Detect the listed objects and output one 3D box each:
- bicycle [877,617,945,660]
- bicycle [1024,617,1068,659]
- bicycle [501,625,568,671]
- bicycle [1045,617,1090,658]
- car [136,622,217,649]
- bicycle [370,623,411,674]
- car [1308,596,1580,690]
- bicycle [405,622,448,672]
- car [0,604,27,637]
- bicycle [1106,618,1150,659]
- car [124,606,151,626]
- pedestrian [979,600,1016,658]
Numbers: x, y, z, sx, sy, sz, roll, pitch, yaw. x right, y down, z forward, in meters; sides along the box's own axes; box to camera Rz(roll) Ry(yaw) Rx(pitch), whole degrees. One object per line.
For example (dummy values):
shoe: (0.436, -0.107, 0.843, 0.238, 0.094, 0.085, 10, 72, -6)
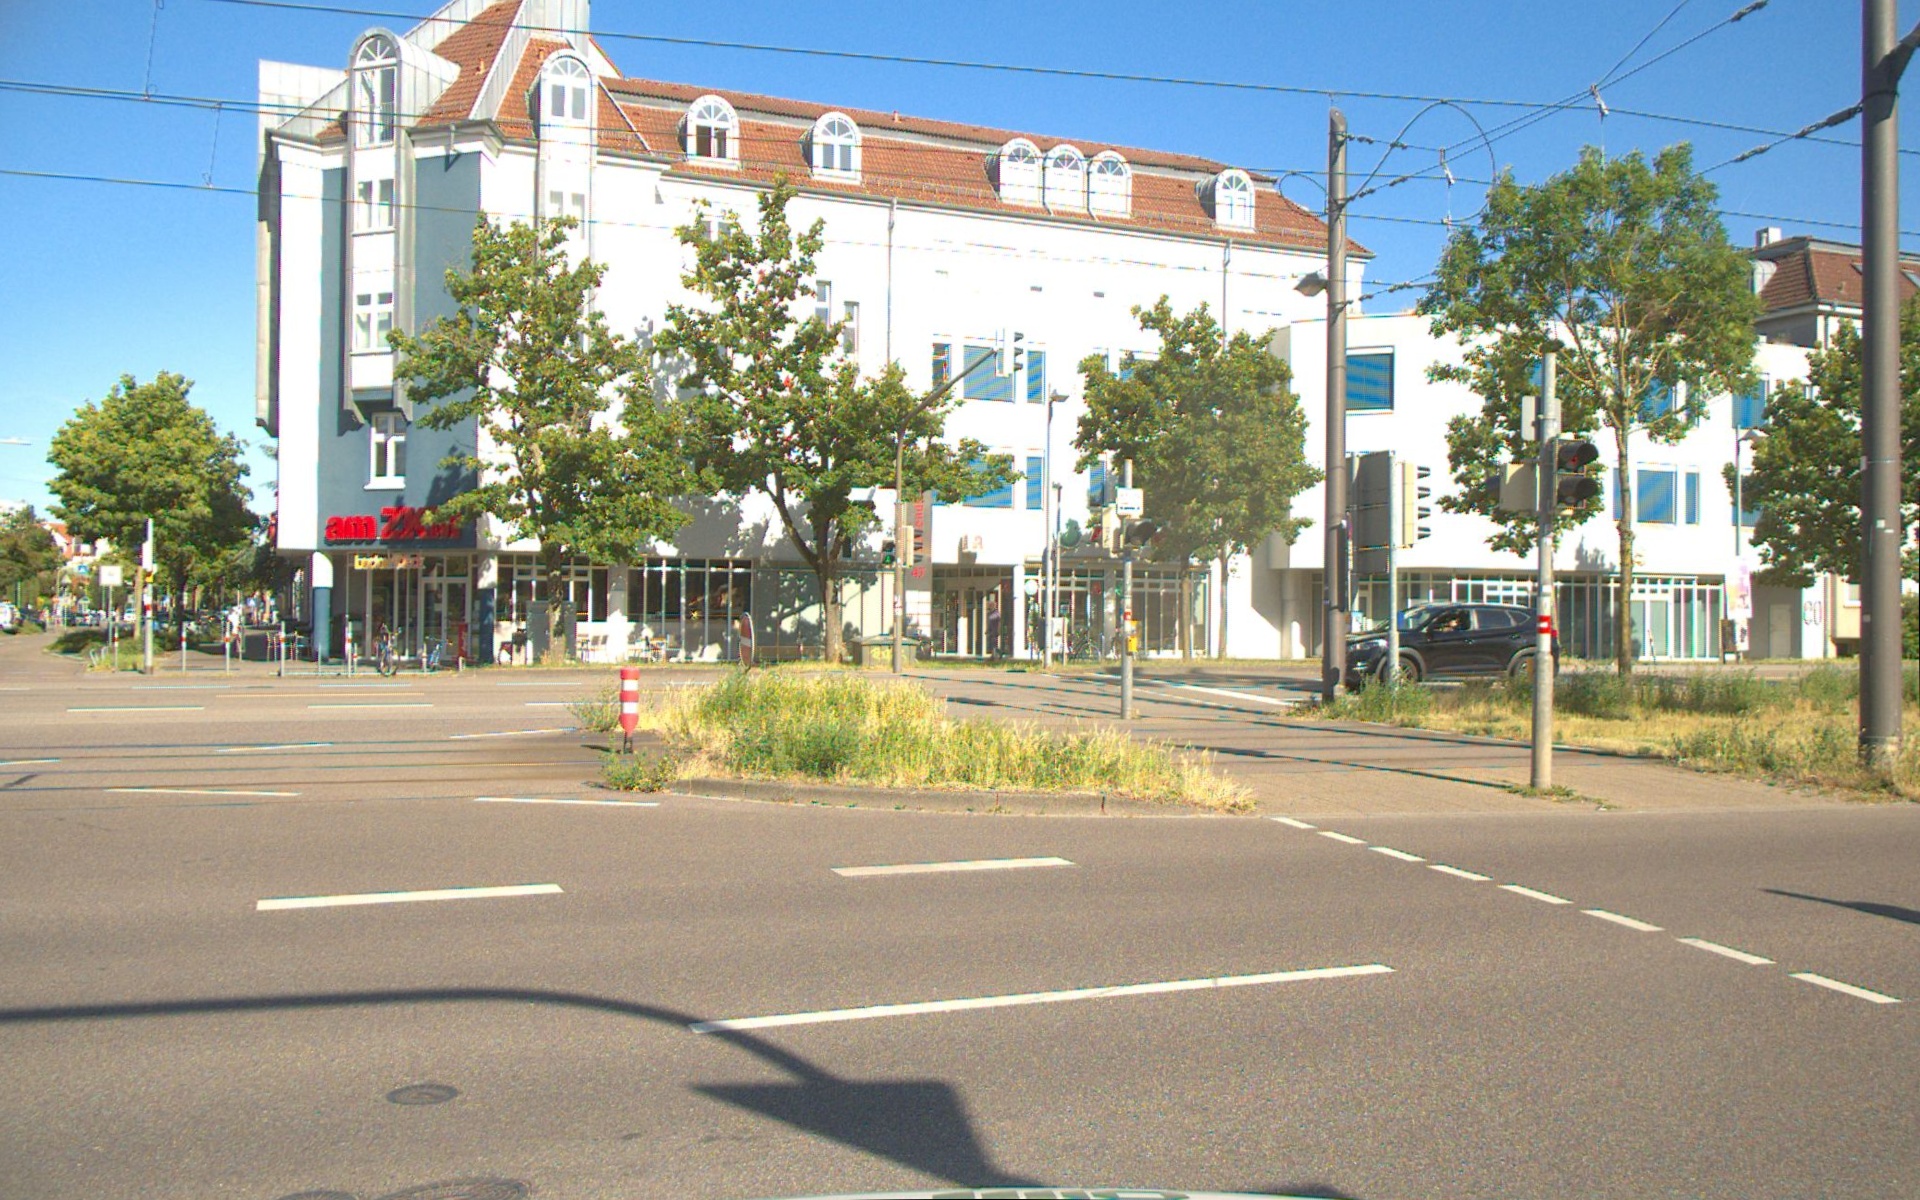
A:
bicycle: (-1.373, 1.076, 46.482, 1.842, 1.203, 0.557, 0, -1, -28)
bicycle: (2.553, 1.126, 49.437, 0.553, 1.203, 1.855, 0, -1, -24)
bicycle: (-9.848, 1.098, 38.311, 1.485, 1.045, 0.471, 0, -1, -13)
bicycle: (3.251, 1.118, 50.073, 0.553, 1.203, 1.855, 0, -1, -24)
car: (-38.387, 1.761, 81.112, 3.523, 1.245, 1.717, 1, -2, -26)
bicycle: (-12.029, 1.004, 34.932, 0.467, 1.045, 1.498, 0, -1, -33)
car: (8.860, 0.769, 30.417, 4.424, 1.638, 1.993, 0, -1, -14)
bicycle: (-11.524, 1.004, 35.711, 0.467, 1.045, 1.498, 0, -1, -34)
car: (-61.613, 1.309, 104.529, 4.449, 2.049, 1.983, 1, -2, -26)
bicycle: (5.106, 1.159, 50.420, 0.552, 1.203, 1.858, 0, -1, -21)
car: (-78.763, 1.514, 158.366, 1.966, 1.787, 4.488, 1, -2, -23)
pedestrian: (1.138, 0.880, 50.268, 0.977, 1.753, 0.649, 0, -1, -24)
